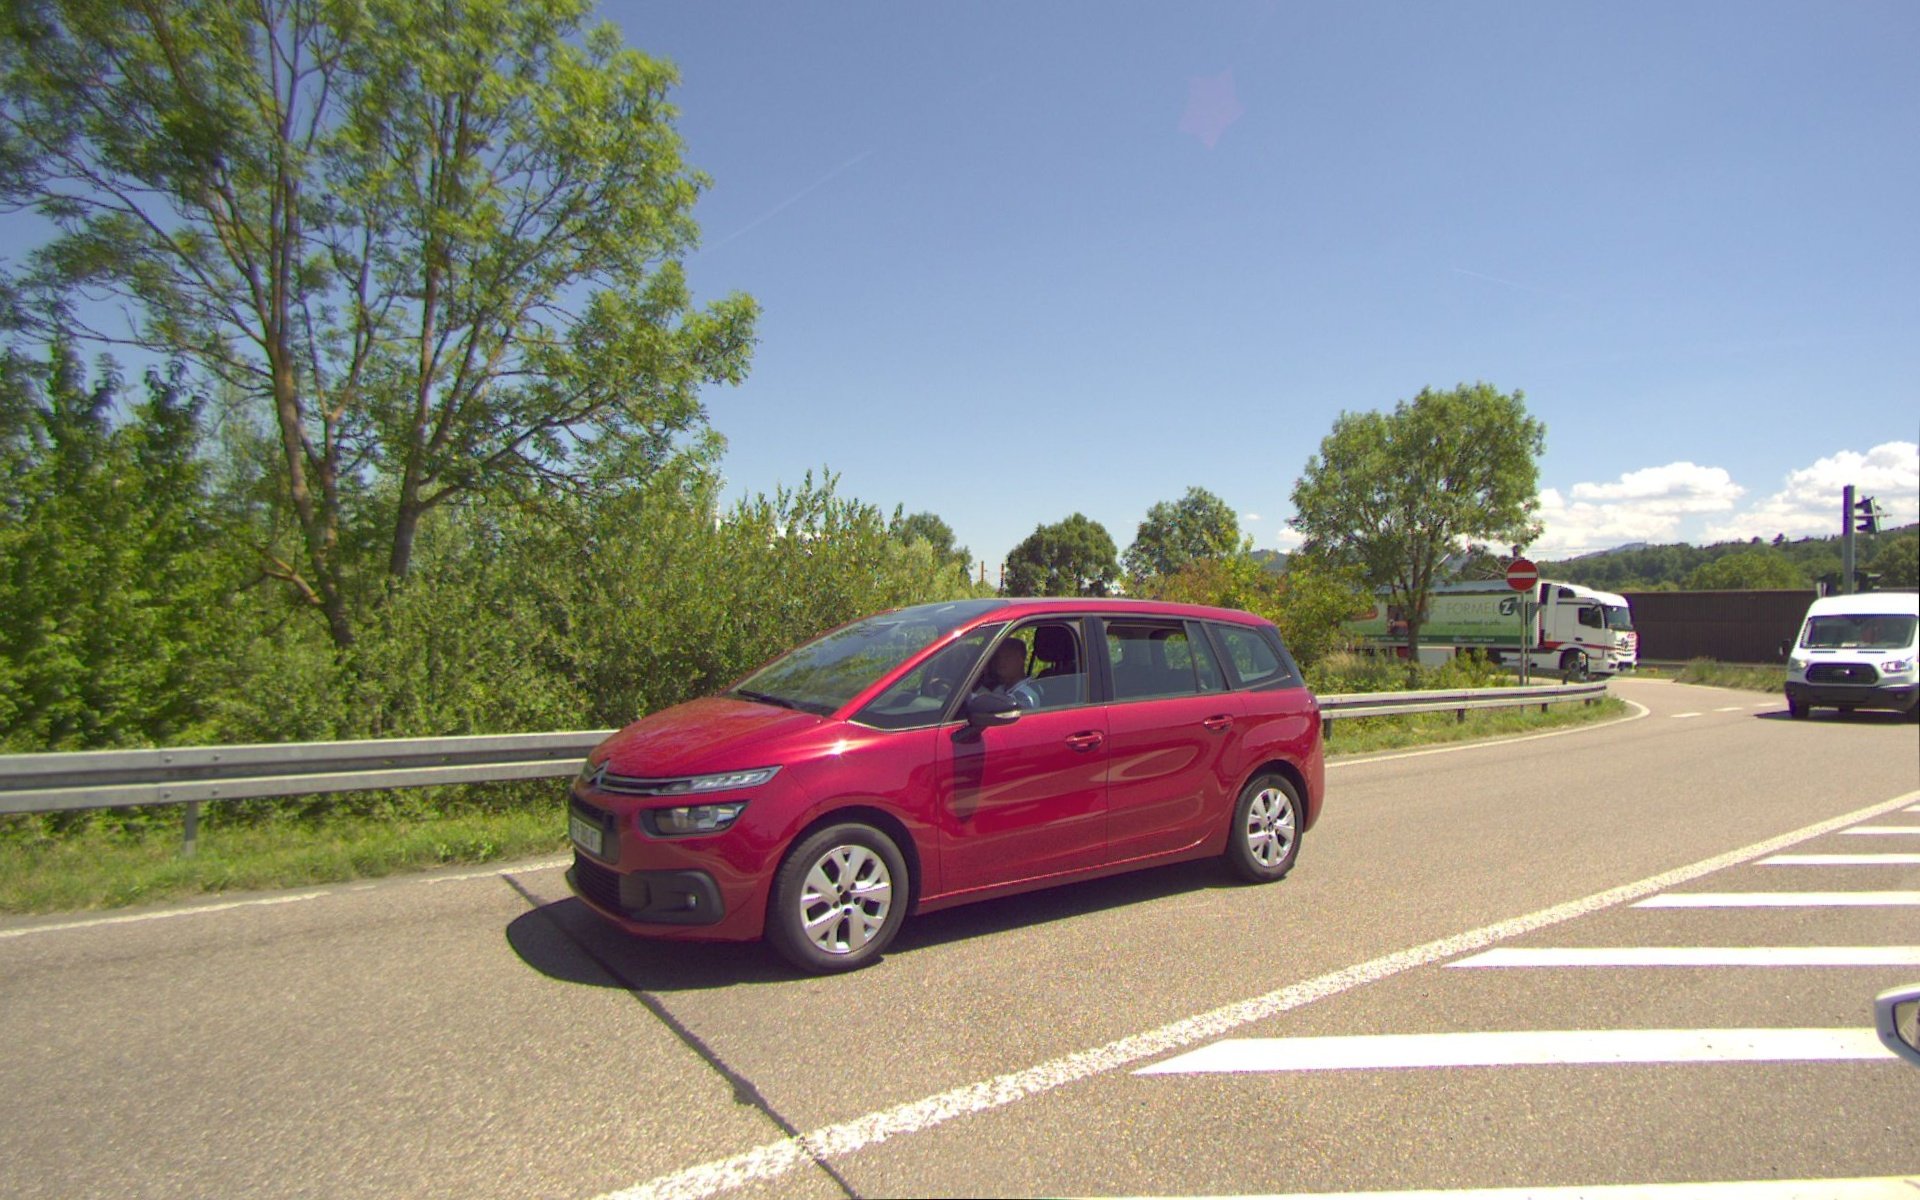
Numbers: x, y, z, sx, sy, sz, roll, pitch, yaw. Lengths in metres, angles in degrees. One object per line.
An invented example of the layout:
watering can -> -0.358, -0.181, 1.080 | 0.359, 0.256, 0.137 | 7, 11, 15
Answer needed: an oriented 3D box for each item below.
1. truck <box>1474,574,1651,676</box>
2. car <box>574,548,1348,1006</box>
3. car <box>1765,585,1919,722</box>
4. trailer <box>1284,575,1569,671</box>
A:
truck -> 25.495, 1.026, 42.746 | 3.027, 4.007, 5.736 | 2, -1, -31
car -> 0.205, 0.746, 5.685 | 4.167, 1.708, 1.725 | 2, -3, -35
car -> 18.546, 1.060, 20.335 | 5.533, 2.448, 1.981 | 2, -3, -35
trailer -> 21.950, 1.032, 48.727 | 3.027, 4.007, 13.074 | 2, -1, -31
